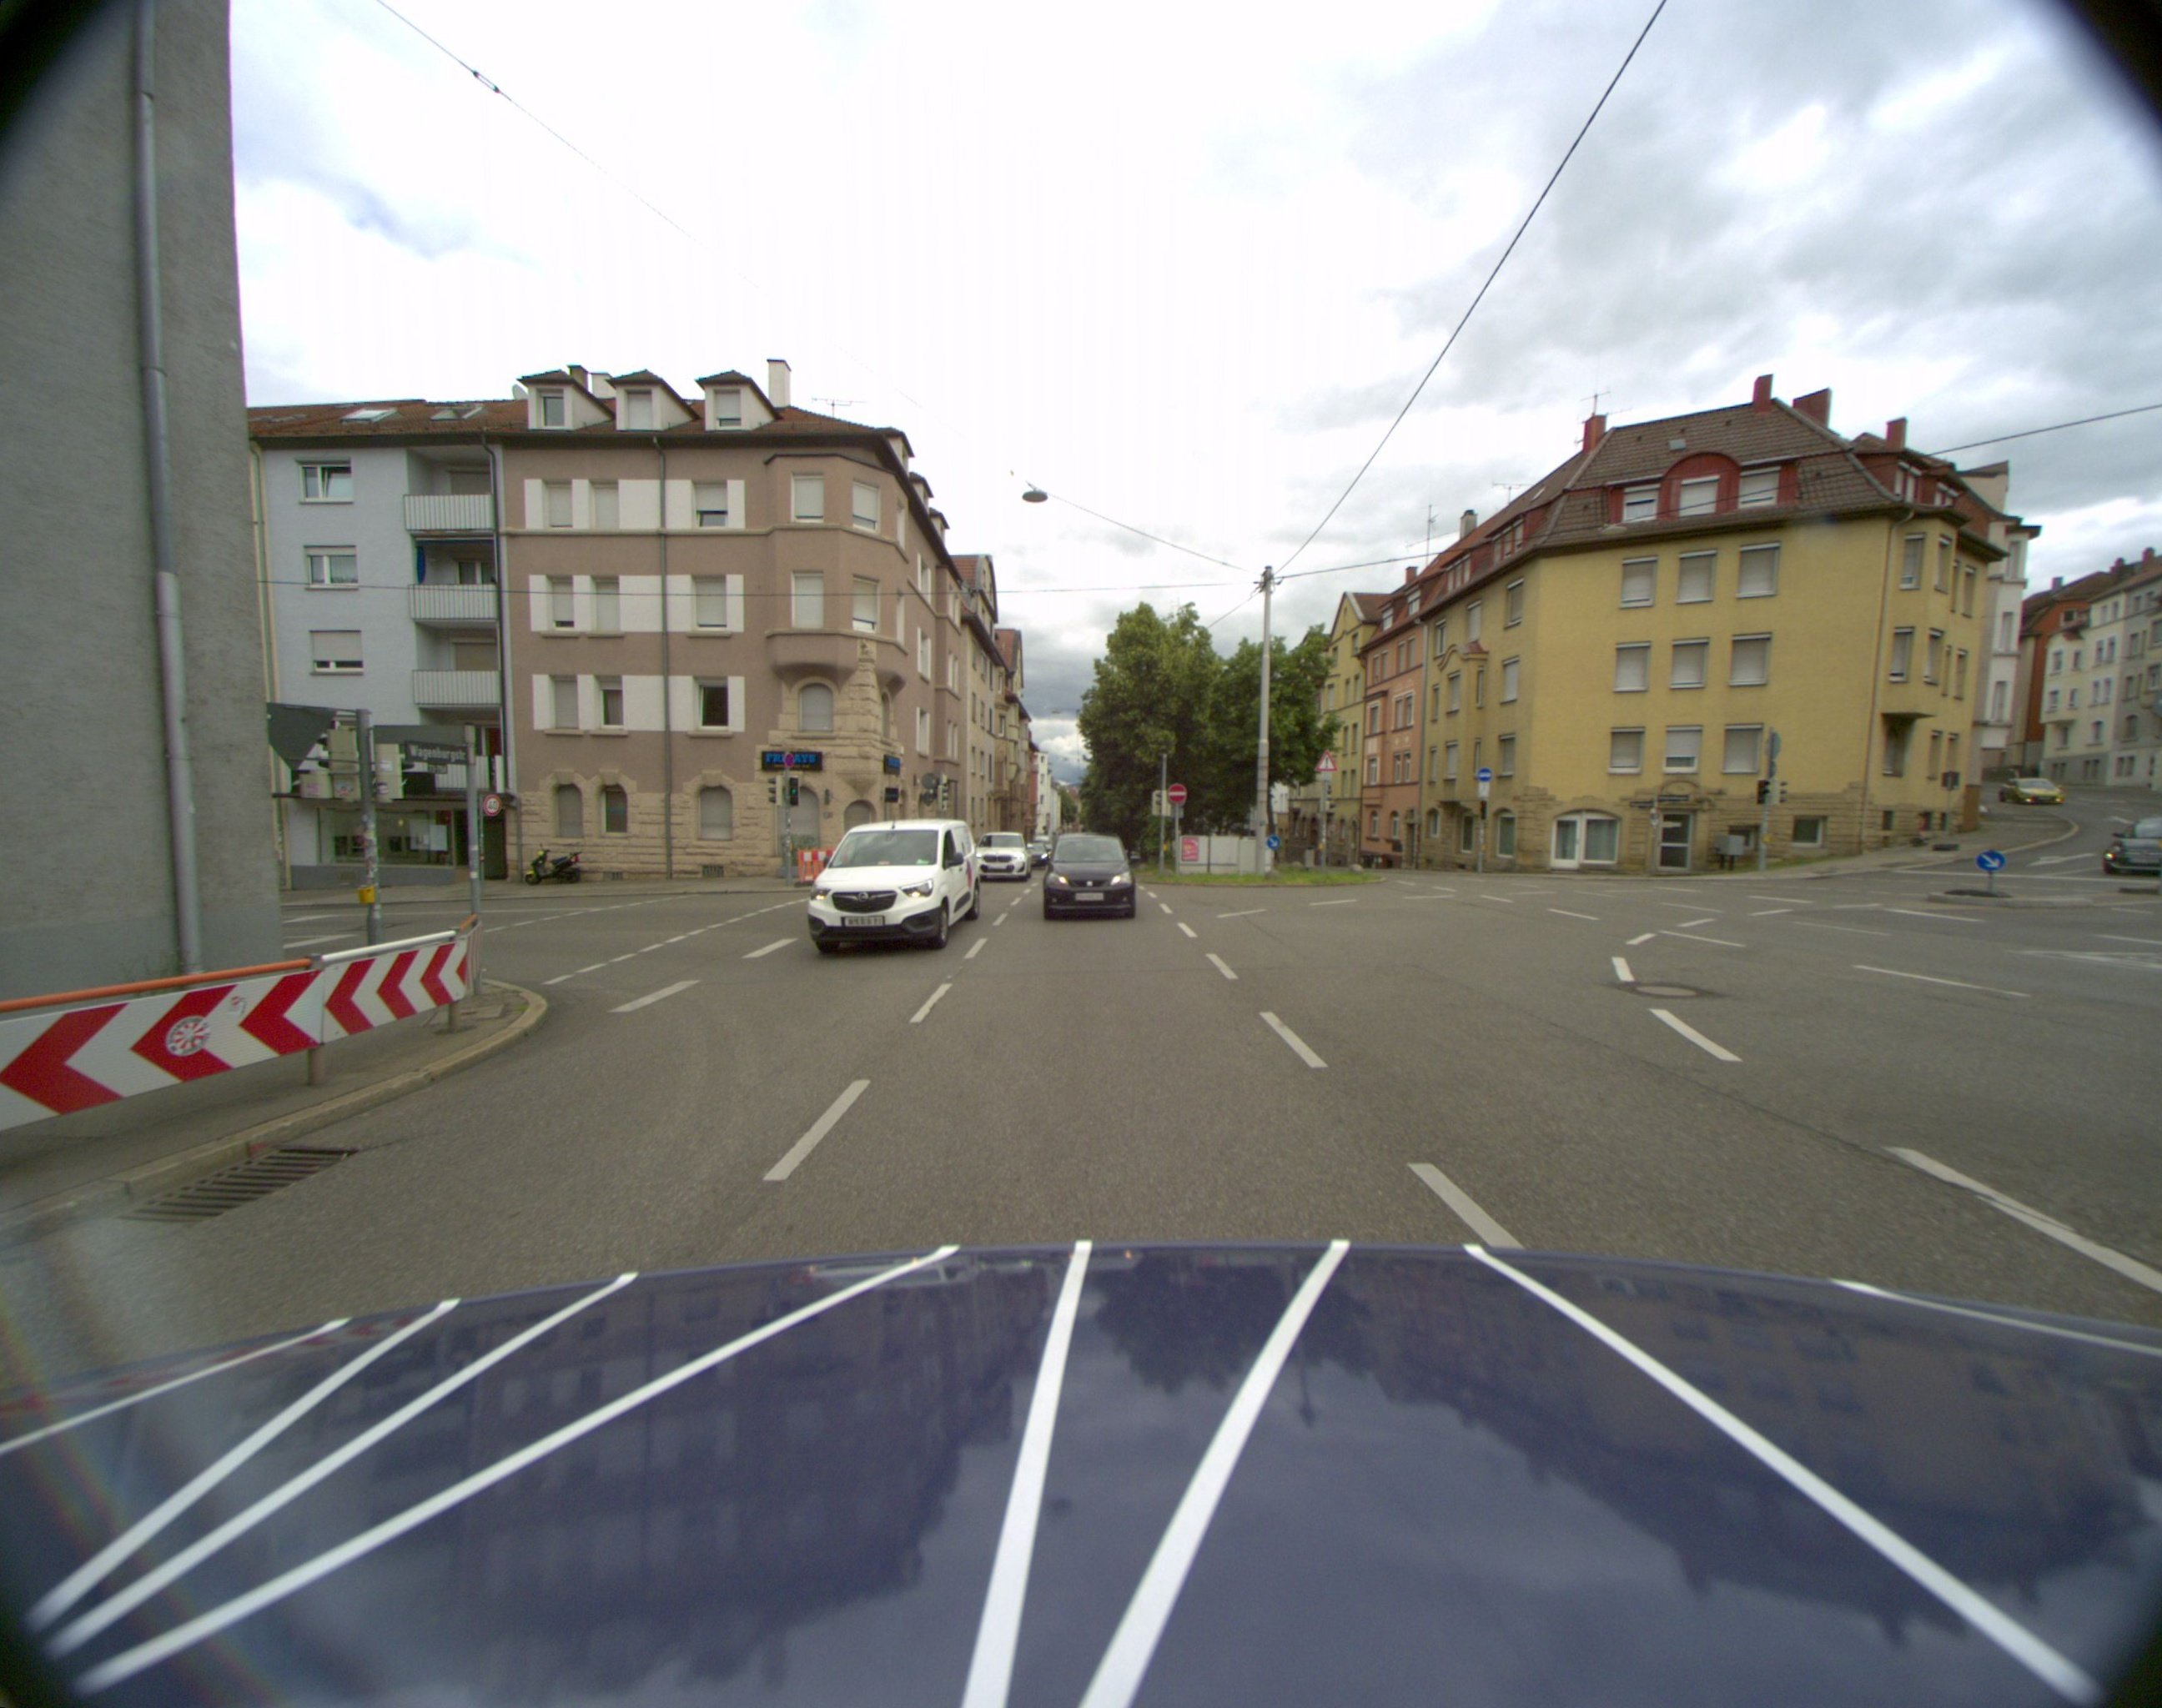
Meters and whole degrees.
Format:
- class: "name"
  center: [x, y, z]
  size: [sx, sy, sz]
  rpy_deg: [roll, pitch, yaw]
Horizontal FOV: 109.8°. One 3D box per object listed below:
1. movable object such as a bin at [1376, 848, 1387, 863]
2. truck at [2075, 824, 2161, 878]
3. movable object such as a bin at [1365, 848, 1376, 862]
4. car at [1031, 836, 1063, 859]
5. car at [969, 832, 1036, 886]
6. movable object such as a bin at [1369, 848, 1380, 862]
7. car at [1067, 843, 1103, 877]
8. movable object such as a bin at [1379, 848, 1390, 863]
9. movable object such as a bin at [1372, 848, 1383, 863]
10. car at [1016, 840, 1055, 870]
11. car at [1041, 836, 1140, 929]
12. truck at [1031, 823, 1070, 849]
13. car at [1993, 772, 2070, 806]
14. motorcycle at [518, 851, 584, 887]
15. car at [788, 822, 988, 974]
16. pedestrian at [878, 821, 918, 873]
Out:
- class: "movable object such as a bin"
  center: [17.968, 0.097, 45.465]
  size: [0.487, 0.860, 0.449]
  rpy_deg: [2, 2, 6]
- class: "truck"
  center: [29.487, -0.110, 20.701]
  size: [4.004, 1.410, 1.849]
  rpy_deg: [-1, 1, -21]
- class: "movable object such as a bin"
  center: [18.027, 0.063, 47.275]
  size: [0.487, 0.860, 0.449]
  rpy_deg: [2, 2, 6]
- class: "car"
  center: [-2.334, -0.472, 52.773]
  size: [1.841, 1.477, 4.000]
  rpy_deg: [2, 1, 2]
- class: "car"
  center: [-2.529, 0.135, 25.404]
  size: [1.780, 1.598, 4.163]
  rpy_deg: [-2, 1, 0]
- class: "movable object such as a bin"
  center: [18.001, 0.075, 46.609]
  size: [0.487, 0.860, 0.449]
  rpy_deg: [2, 2, 6]
- class: "car"
  center: [0.167, 0.289, 41.688]
  size: [1.784, 1.584, 3.531]
  rpy_deg: [3, 3, -2]
- class: "movable object such as a bin"
  center: [17.888, 0.107, 44.827]
  size: [0.487, 0.860, 0.449]
  rpy_deg: [2, 2, 6]
- class: "movable object such as a bin"
  center: [17.953, 0.086, 46.017]
  size: [0.487, 0.860, 0.449]
  rpy_deg: [2, 2, 6]
- class: "car"
  center: [-2.343, 0.016, 40.288]
  size: [1.780, 1.434, 4.163]
  rpy_deg: [-2, 1, 0]
- class: "car"
  center: [0.150, 0.423, 14.320]
  size: [1.604, 1.449, 3.683]
  rpy_deg: [-1, 2, 0]
- class: "truck"
  center: [-3.526, -2.121, 90.872]
  size: [2.549, 2.891, 7.784]
  rpy_deg: [2, 1, 14]
- class: "car"
  center: [56.771, -3.857, 45.469]
  size: [1.857, 1.711, 3.863]
  rpy_deg: [1, 1, 35]
- class: "motorcycle"
  center: [-17.033, 0.478, 24.443]
  size: [1.682, 1.077, 0.514]
  rpy_deg: [-1, 5, 2]
- class: "car"
  center: [-2.739, 0.462, 12.075]
  size: [1.788, 1.780, 4.841]
  rpy_deg: [-2, 4, 1]
- class: "pedestrian"
  center: [-5.973, -0.242, 24.790]
  size: [0.733, 1.638, 1.007]
  rpy_deg: [1, 2, 44]
